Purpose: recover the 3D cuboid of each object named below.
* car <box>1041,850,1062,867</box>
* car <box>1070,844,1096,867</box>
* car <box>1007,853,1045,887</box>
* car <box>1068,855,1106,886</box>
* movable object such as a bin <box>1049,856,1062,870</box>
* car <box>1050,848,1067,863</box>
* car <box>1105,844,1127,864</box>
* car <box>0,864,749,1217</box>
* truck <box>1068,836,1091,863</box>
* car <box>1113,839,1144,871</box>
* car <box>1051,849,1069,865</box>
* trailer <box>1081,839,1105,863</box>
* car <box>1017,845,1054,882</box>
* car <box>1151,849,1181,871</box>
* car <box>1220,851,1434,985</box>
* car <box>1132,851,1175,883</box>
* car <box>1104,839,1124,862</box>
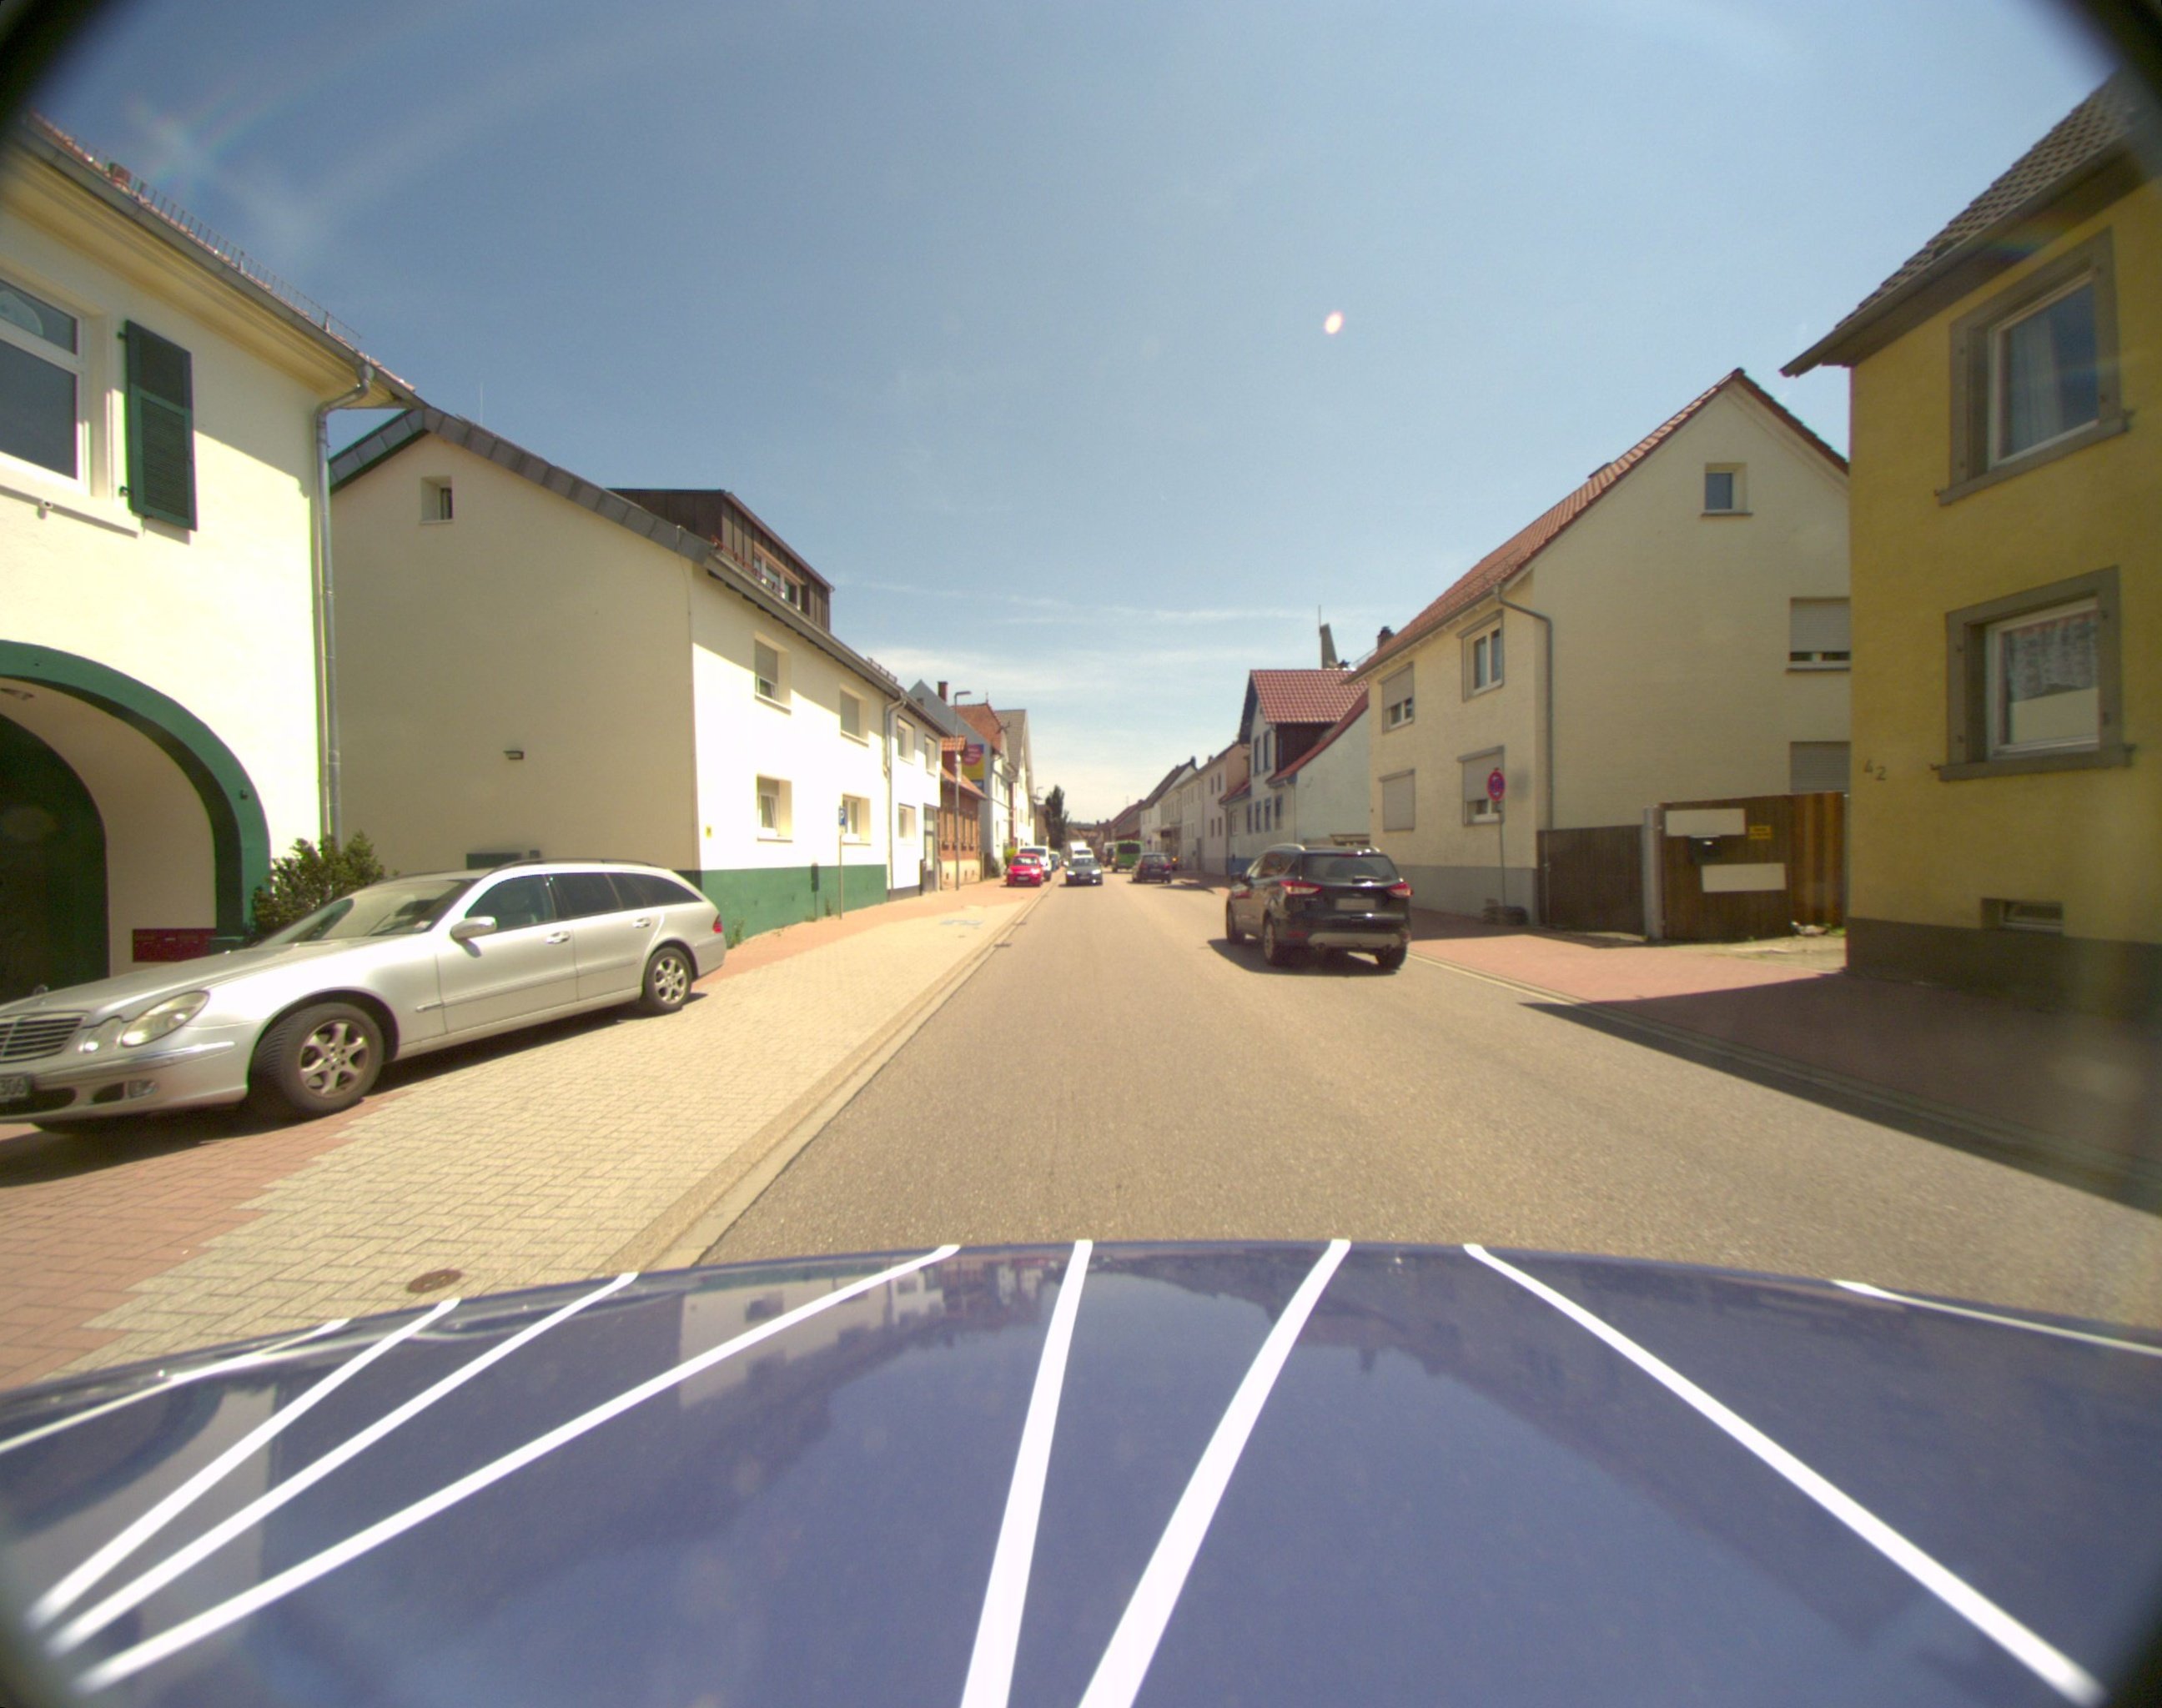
[{"bbox_3d":[-2.646,0.416,68.909,1.704,1.438,4.836,2,1,0],"label":"car"},{"bbox_3d":[0.183,0.121,67.006,2.079,1.949,5.518,-2,0,0],"label":"car"},{"bbox_3d":[-2.591,0.714,36.565,1.614,1.519,3.676,0,0,-1],"label":"car"},{"bbox_3d":[0.277,0.786,37.581,1.786,1.364,3.606,-2,0,0],"label":"car"},{"bbox_3d":[-2.010,0.706,60.704,0.723,1.067,0.973,1,1,16],"label":"movable object such as a bin"},{"bbox_3d":[-2.425,0.176,83.090,1.807,1.604,4.548,1,0,0],"label":"car"},{"bbox_3d":[3.450,-0.008,75.456,1.886,1.932,5.117,0,1,0],"label":"car"},{"bbox_3d":[-4.972,0.970,6.032,1.818,1.454,4.887,-5,0,9],"label":"car"},{"bbox_3d":[-0.238,-0.607,105.249,2.868,3.492,8.317,0,0,-3],"label":"truck"},{"bbox_3d":[3.549,0.046,57.583,2.056,2.340,6.081,0,0,0],"label":"car"},{"bbox_3d":[-2.060,0.237,75.864,1.611,1.513,3.544,2,1,0],"label":"car"},{"bbox_3d":[1.973,-0.590,131.215,2.638,3.956,15.690,0,1,-4],"label":"trailer"},{"bbox_3d":[-2.542,0.492,43.564,1.951,1.959,4.784,0,0,-1],"label":"car"},{"bbox_3d":[6.550,0.412,59.077,1.813,1.548,4.564,-3,1,1],"label":"car"},{"bbox_3d":[3.436,0.787,11.576,1.844,1.660,4.323,0,0,0],"label":"car"},{"bbox_3d":[3.706,0.634,39.442,1.769,1.527,4.077,0,0,0],"label":"car"},{"bbox_3d":[3.824,-0.404,88.258,2.130,2.527,5.461,0,0,0],"label":"car"}]
